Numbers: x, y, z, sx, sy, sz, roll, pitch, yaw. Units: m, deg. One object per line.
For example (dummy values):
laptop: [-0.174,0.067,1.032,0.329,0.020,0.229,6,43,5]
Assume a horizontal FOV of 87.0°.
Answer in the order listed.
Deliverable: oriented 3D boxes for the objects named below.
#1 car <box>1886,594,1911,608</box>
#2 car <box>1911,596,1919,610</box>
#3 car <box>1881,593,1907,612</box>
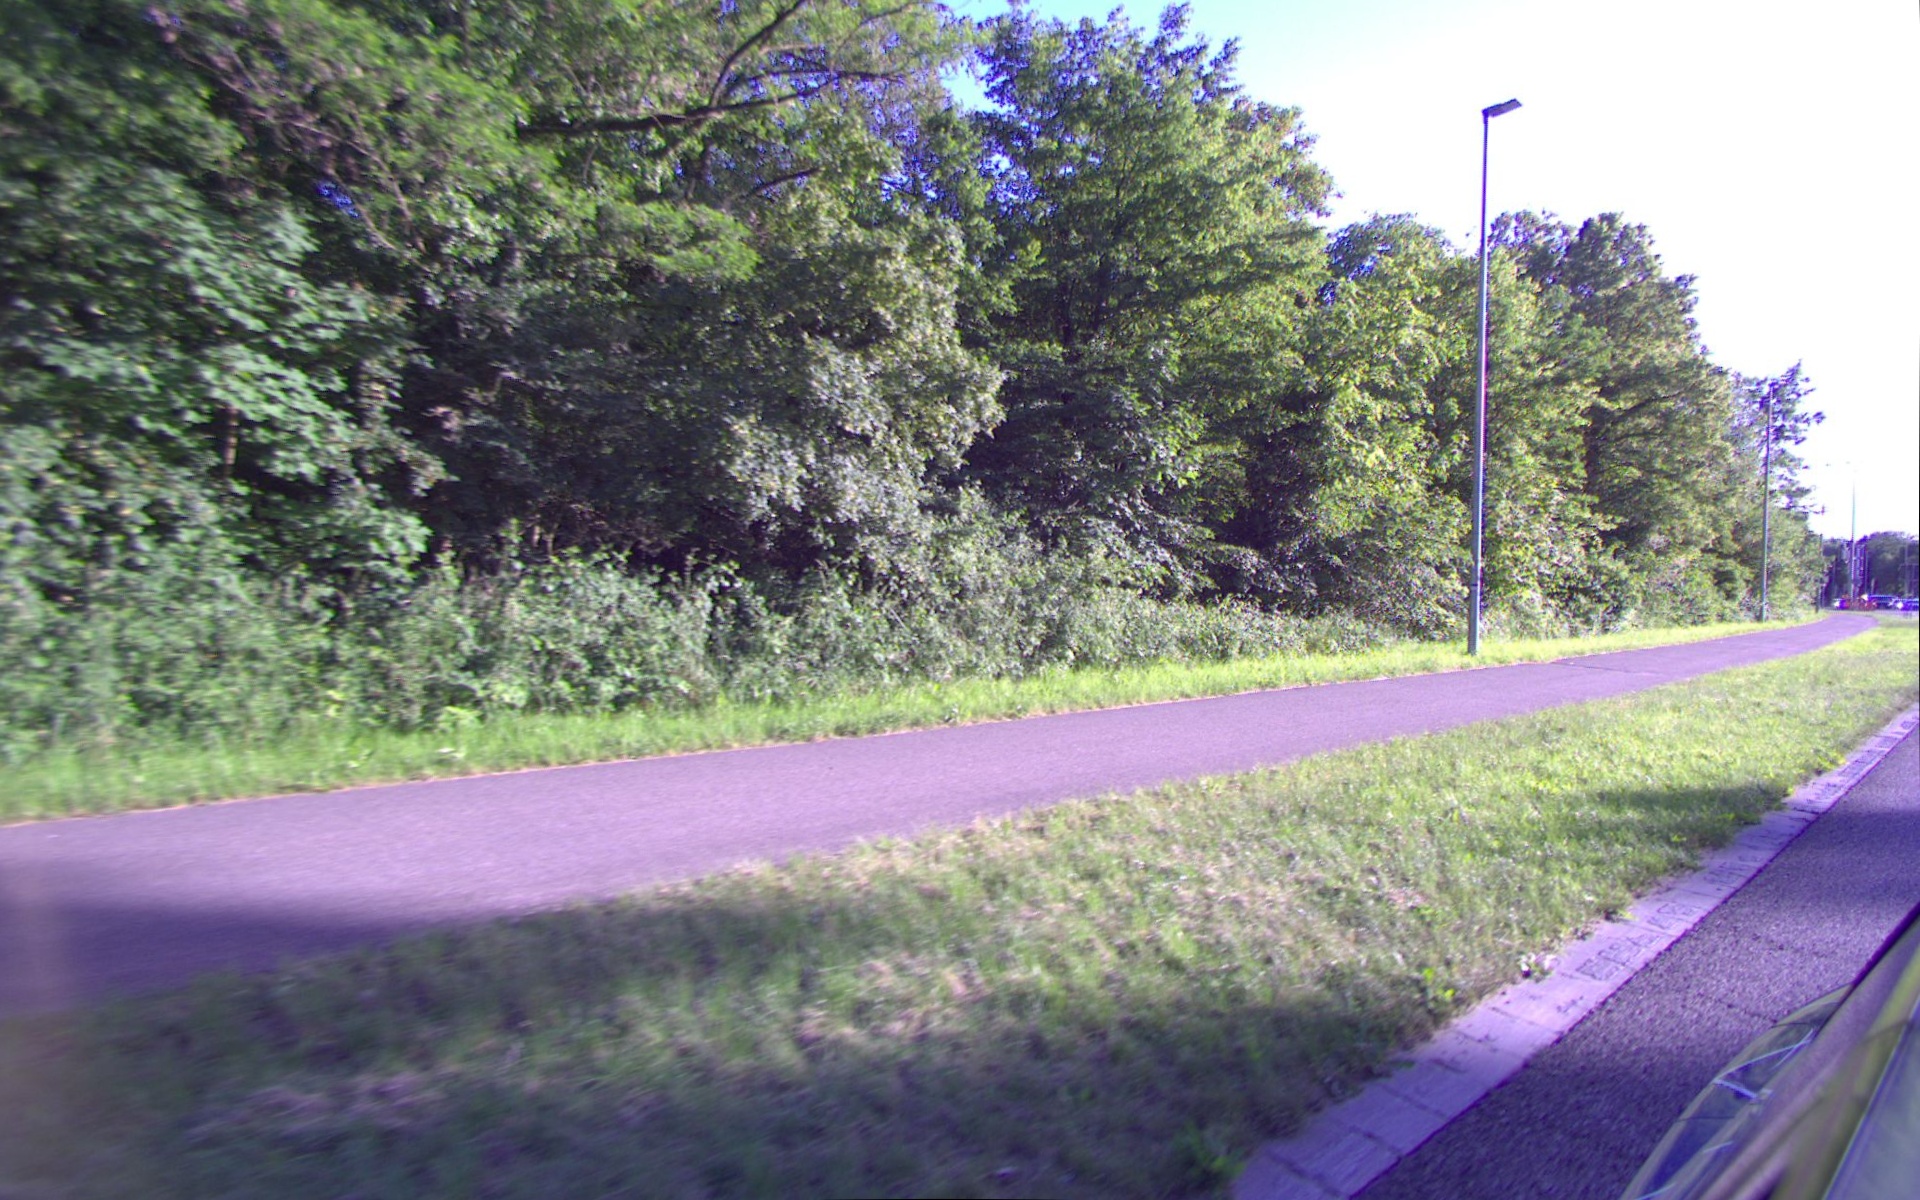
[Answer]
car: [118.110,0.110,127.356,1.990,1.538,3.944,1,2,39]
car: [114.806,0.393,120.437,1.990,1.538,3.944,1,2,39]
car: [112.005,0.300,121.379,1.990,2.094,3.944,1,2,39]
